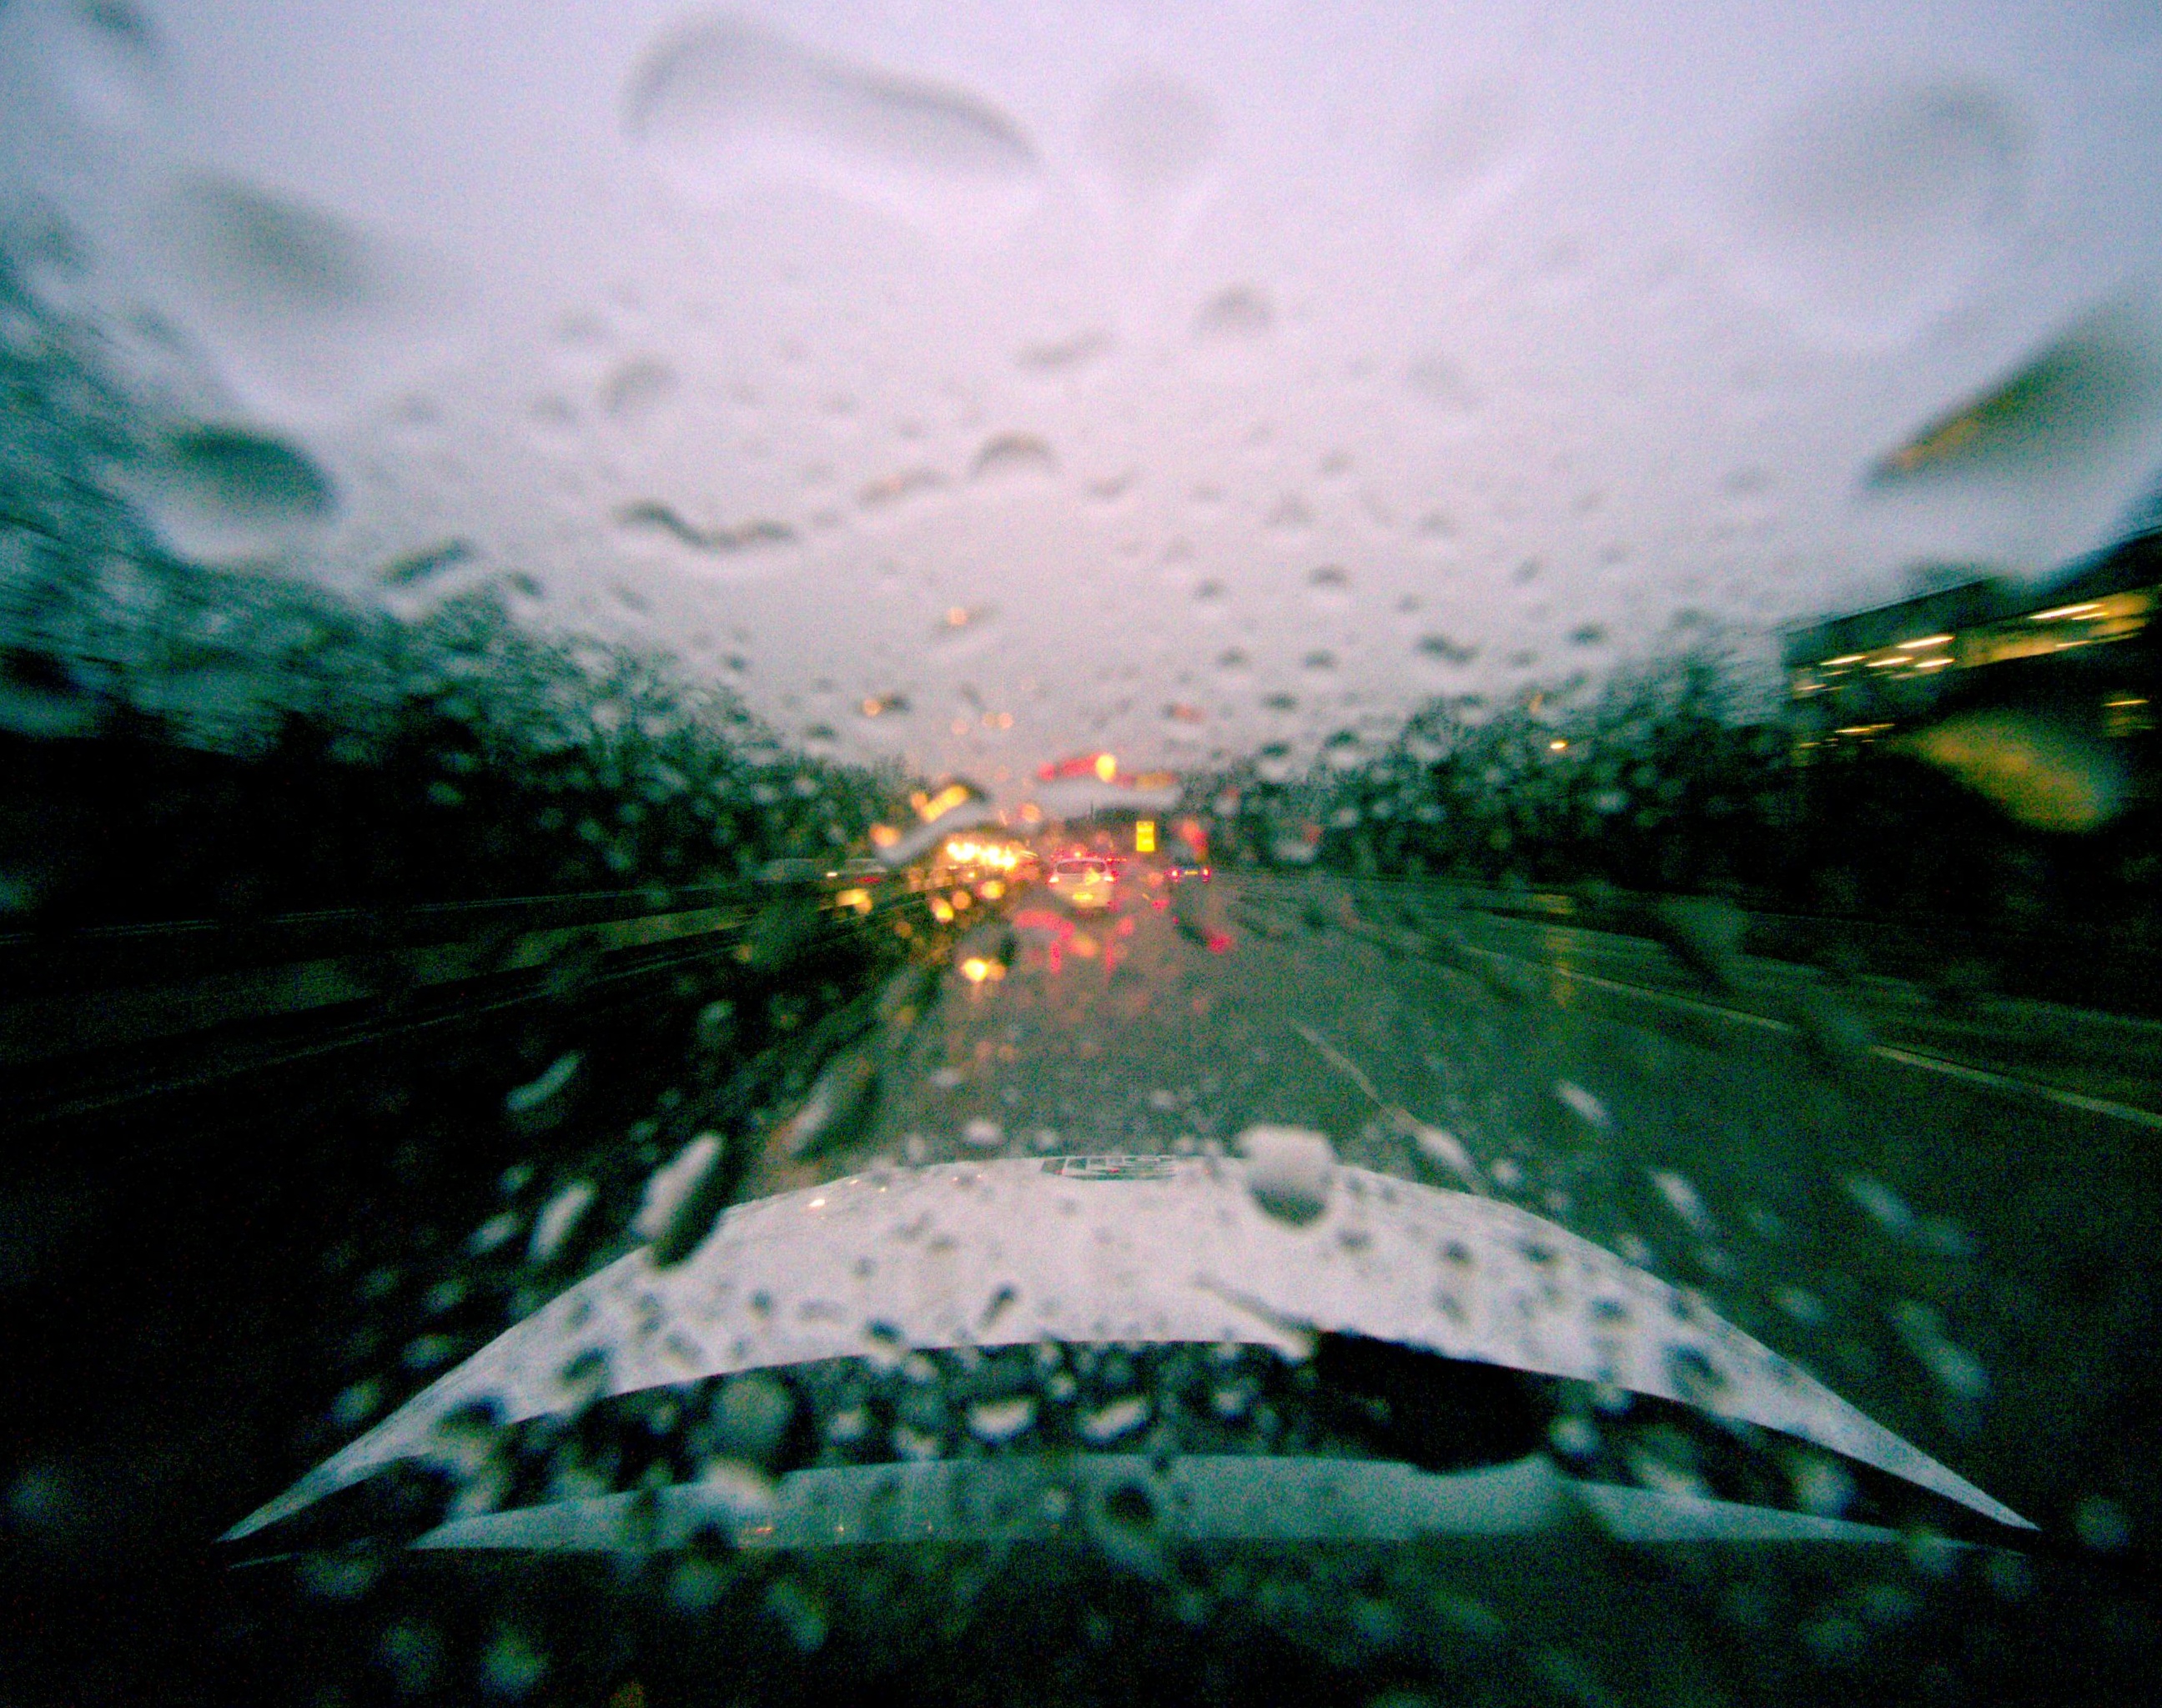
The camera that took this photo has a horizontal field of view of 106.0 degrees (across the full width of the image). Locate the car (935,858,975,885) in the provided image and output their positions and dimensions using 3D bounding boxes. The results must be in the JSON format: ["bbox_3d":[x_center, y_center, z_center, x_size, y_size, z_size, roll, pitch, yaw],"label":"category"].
[{"bbox_3d":[-7.217,0.989,46.970,1.611,1.484,4.598,0,0,0],"label":"car"}]

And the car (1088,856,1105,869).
[{"bbox_3d":[1.820,0.995,97.703,1.926,1.546,3.772,0,0,0],"label":"car"}]

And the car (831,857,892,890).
[{"bbox_3d":[-10.949,0.954,40.963,1.698,1.566,4.849,0,0,0],"label":"car"}]

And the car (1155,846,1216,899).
[{"bbox_3d":[4.143,0.707,32.912,1.927,2.019,3.771,0,0,-1],"label":"car"}]

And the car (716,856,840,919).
[{"bbox_3d":[-7.741,0.796,21.194,1.731,1.494,3.843,0,0,0],"label":"car"}]

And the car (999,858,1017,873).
[{"bbox_3d":[-7.785,1.219,87.282,1.649,1.519,3.503,0,0,-1],"label":"car"}]

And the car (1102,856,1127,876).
[{"bbox_3d":[3.035,1.115,73.943,1.927,1.546,3.771,-6,-1,-1],"label":"car"}]

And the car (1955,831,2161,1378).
[{"bbox_3d":[3.886,0.677,0.640,1.843,1.501,4.261,0,0,0],"label":"car"}]

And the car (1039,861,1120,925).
[{"bbox_3d":[-0.015,0.990,22.215,2.018,1.575,4.000,0,0,1],"label":"car"}]

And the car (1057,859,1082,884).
[{"bbox_3d":[-0.930,1.408,67.636,1.986,2.014,4.001,0,0,1],"label":"car"}]
